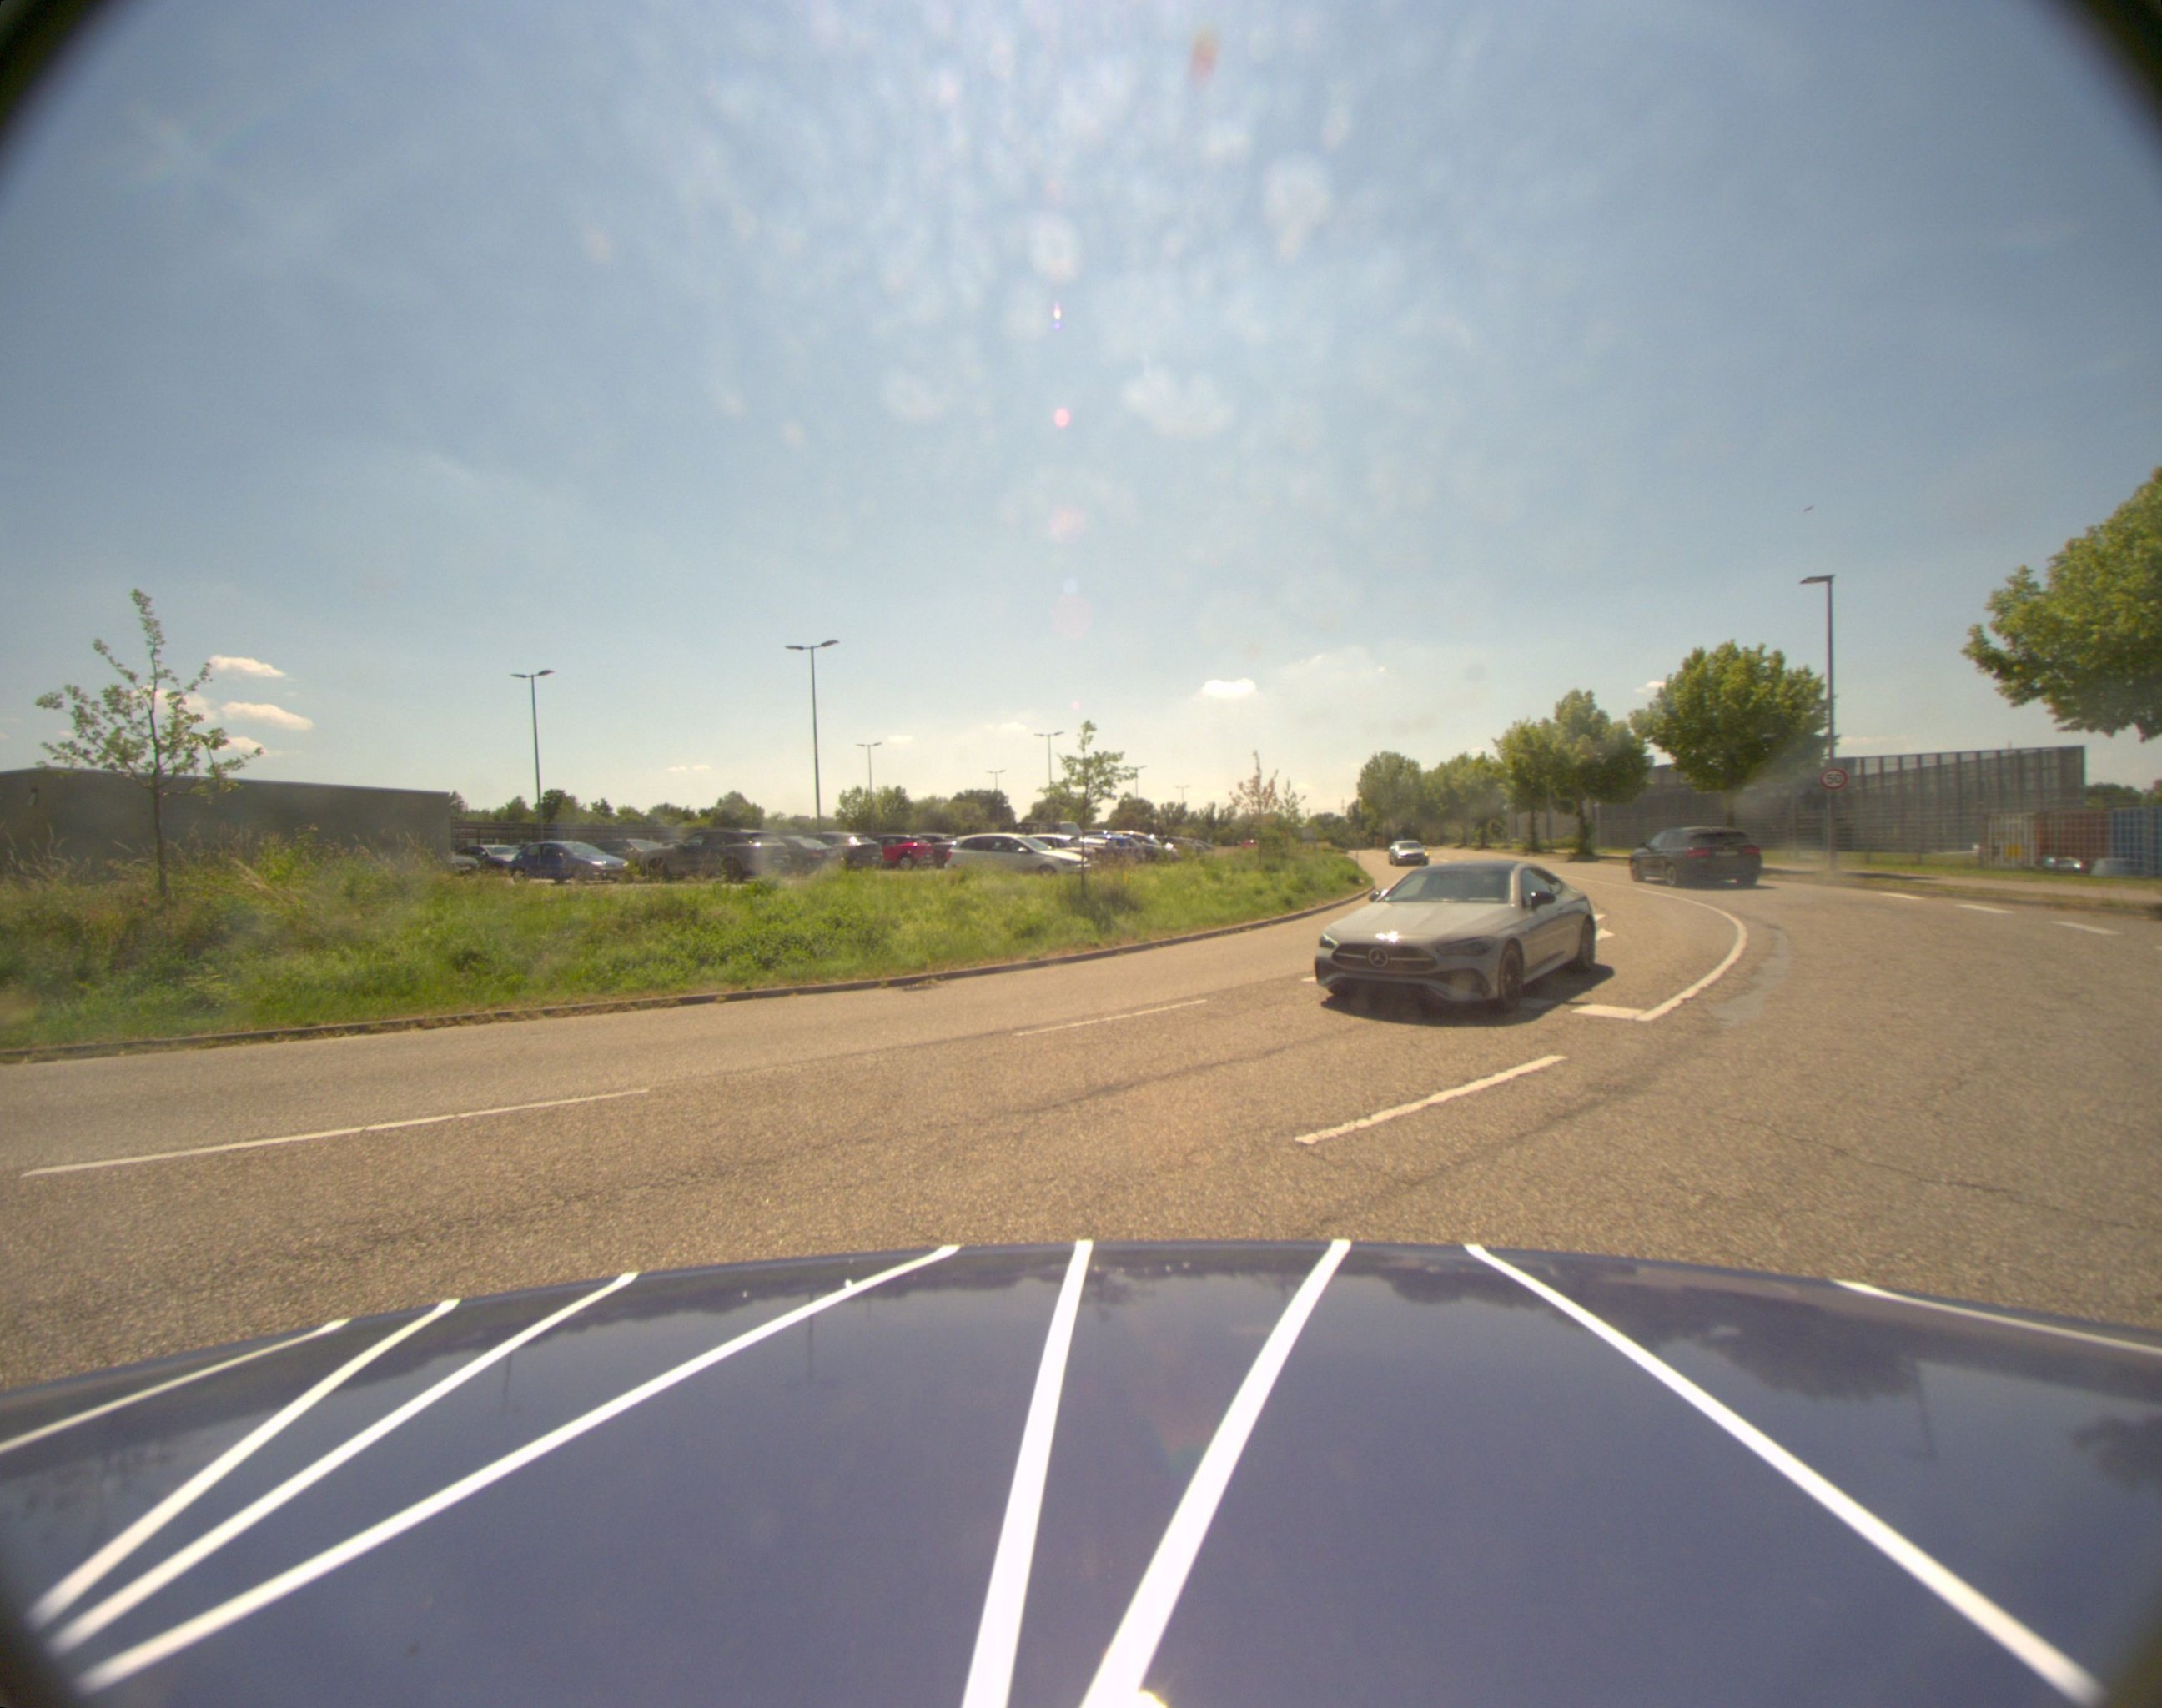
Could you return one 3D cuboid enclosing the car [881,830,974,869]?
[{"bbox_3d":[-7.317,-0.240,36.283,3.872,1.590,1.741,-3,2,14],"label":"car"}]

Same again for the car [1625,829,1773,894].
[{"bbox_3d":[17.870,0.145,22.254,1.866,1.625,4.604,-2,1,19],"label":"car"}]

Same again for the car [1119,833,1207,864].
[{"bbox_3d":[4.124,-0.296,38.080,3.992,1.284,1.911,-3,2,19],"label":"car"}]

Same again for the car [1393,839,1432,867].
[{"bbox_3d":[19.418,-0.092,44.650,1.670,1.367,4.502,-4,1,19],"label":"car"}]

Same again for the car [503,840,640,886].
[{"bbox_3d":[-17.048,0.293,25.492,3.634,1.438,1.654,-1,2,10],"label":"car"}]

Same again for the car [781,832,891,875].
[{"bbox_3d":[-9.443,-0.032,29.398,3.632,1.588,1.771,0,2,16],"label":"car"}]

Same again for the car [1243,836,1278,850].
[{"bbox_3d":[21.827,-1.338,92.243,3.993,1.343,1.648,-3,2,14],"label":"car"}]

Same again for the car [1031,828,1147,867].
[{"bbox_3d":[0.317,-0.246,27.849,3.939,1.251,1.586,-2,3,15],"label":"car"}]

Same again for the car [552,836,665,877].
[{"bbox_3d":[-17.938,0.066,28.890,3.632,1.491,1.600,0,2,16],"label":"car"}]

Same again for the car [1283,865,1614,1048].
[{"bbox_3d":[4.449,0.922,8.784,4.642,1.375,1.893,-3,0,-44],"label":"car"}]

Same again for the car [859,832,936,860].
[{"bbox_3d":[-9.938,-0.450,41.203,3.632,1.491,1.771,0,2,16],"label":"car"}]

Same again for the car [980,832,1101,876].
[{"bbox_3d":[-1.188,-0.002,22.825,3.264,1.175,1.502,-1,3,17],"label":"car"}]

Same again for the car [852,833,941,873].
[{"bbox_3d":[-8.173,-0.051,33.693,3.414,1.565,1.523,-3,2,14],"label":"car"}]

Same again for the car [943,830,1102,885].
[{"bbox_3d":[-1.554,0.092,20.284,3.869,1.290,1.576,-1,3,19],"label":"car"}]

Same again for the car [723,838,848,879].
[{"bbox_3d":[-10.355,0.135,26.720,3.841,1.355,1.654,0,2,16],"label":"car"}]

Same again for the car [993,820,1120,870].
[{"bbox_3d":[-0.815,-0.301,25.406,3.740,1.519,1.878,-1,3,23],"label":"car"}]

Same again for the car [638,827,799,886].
[{"bbox_3d":[-11.627,0.098,24.413,4.595,1.680,1.779,-2,0,16],"label":"car"}]

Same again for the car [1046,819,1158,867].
[{"bbox_3d":[0.858,-0.445,30.188,4.033,1.421,1.689,-6,1,15],"label":"car"}]

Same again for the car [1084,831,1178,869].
[{"bbox_3d":[2.201,-0.183,33.146,3.842,1.615,1.619,0,2,15],"label":"car"}]
